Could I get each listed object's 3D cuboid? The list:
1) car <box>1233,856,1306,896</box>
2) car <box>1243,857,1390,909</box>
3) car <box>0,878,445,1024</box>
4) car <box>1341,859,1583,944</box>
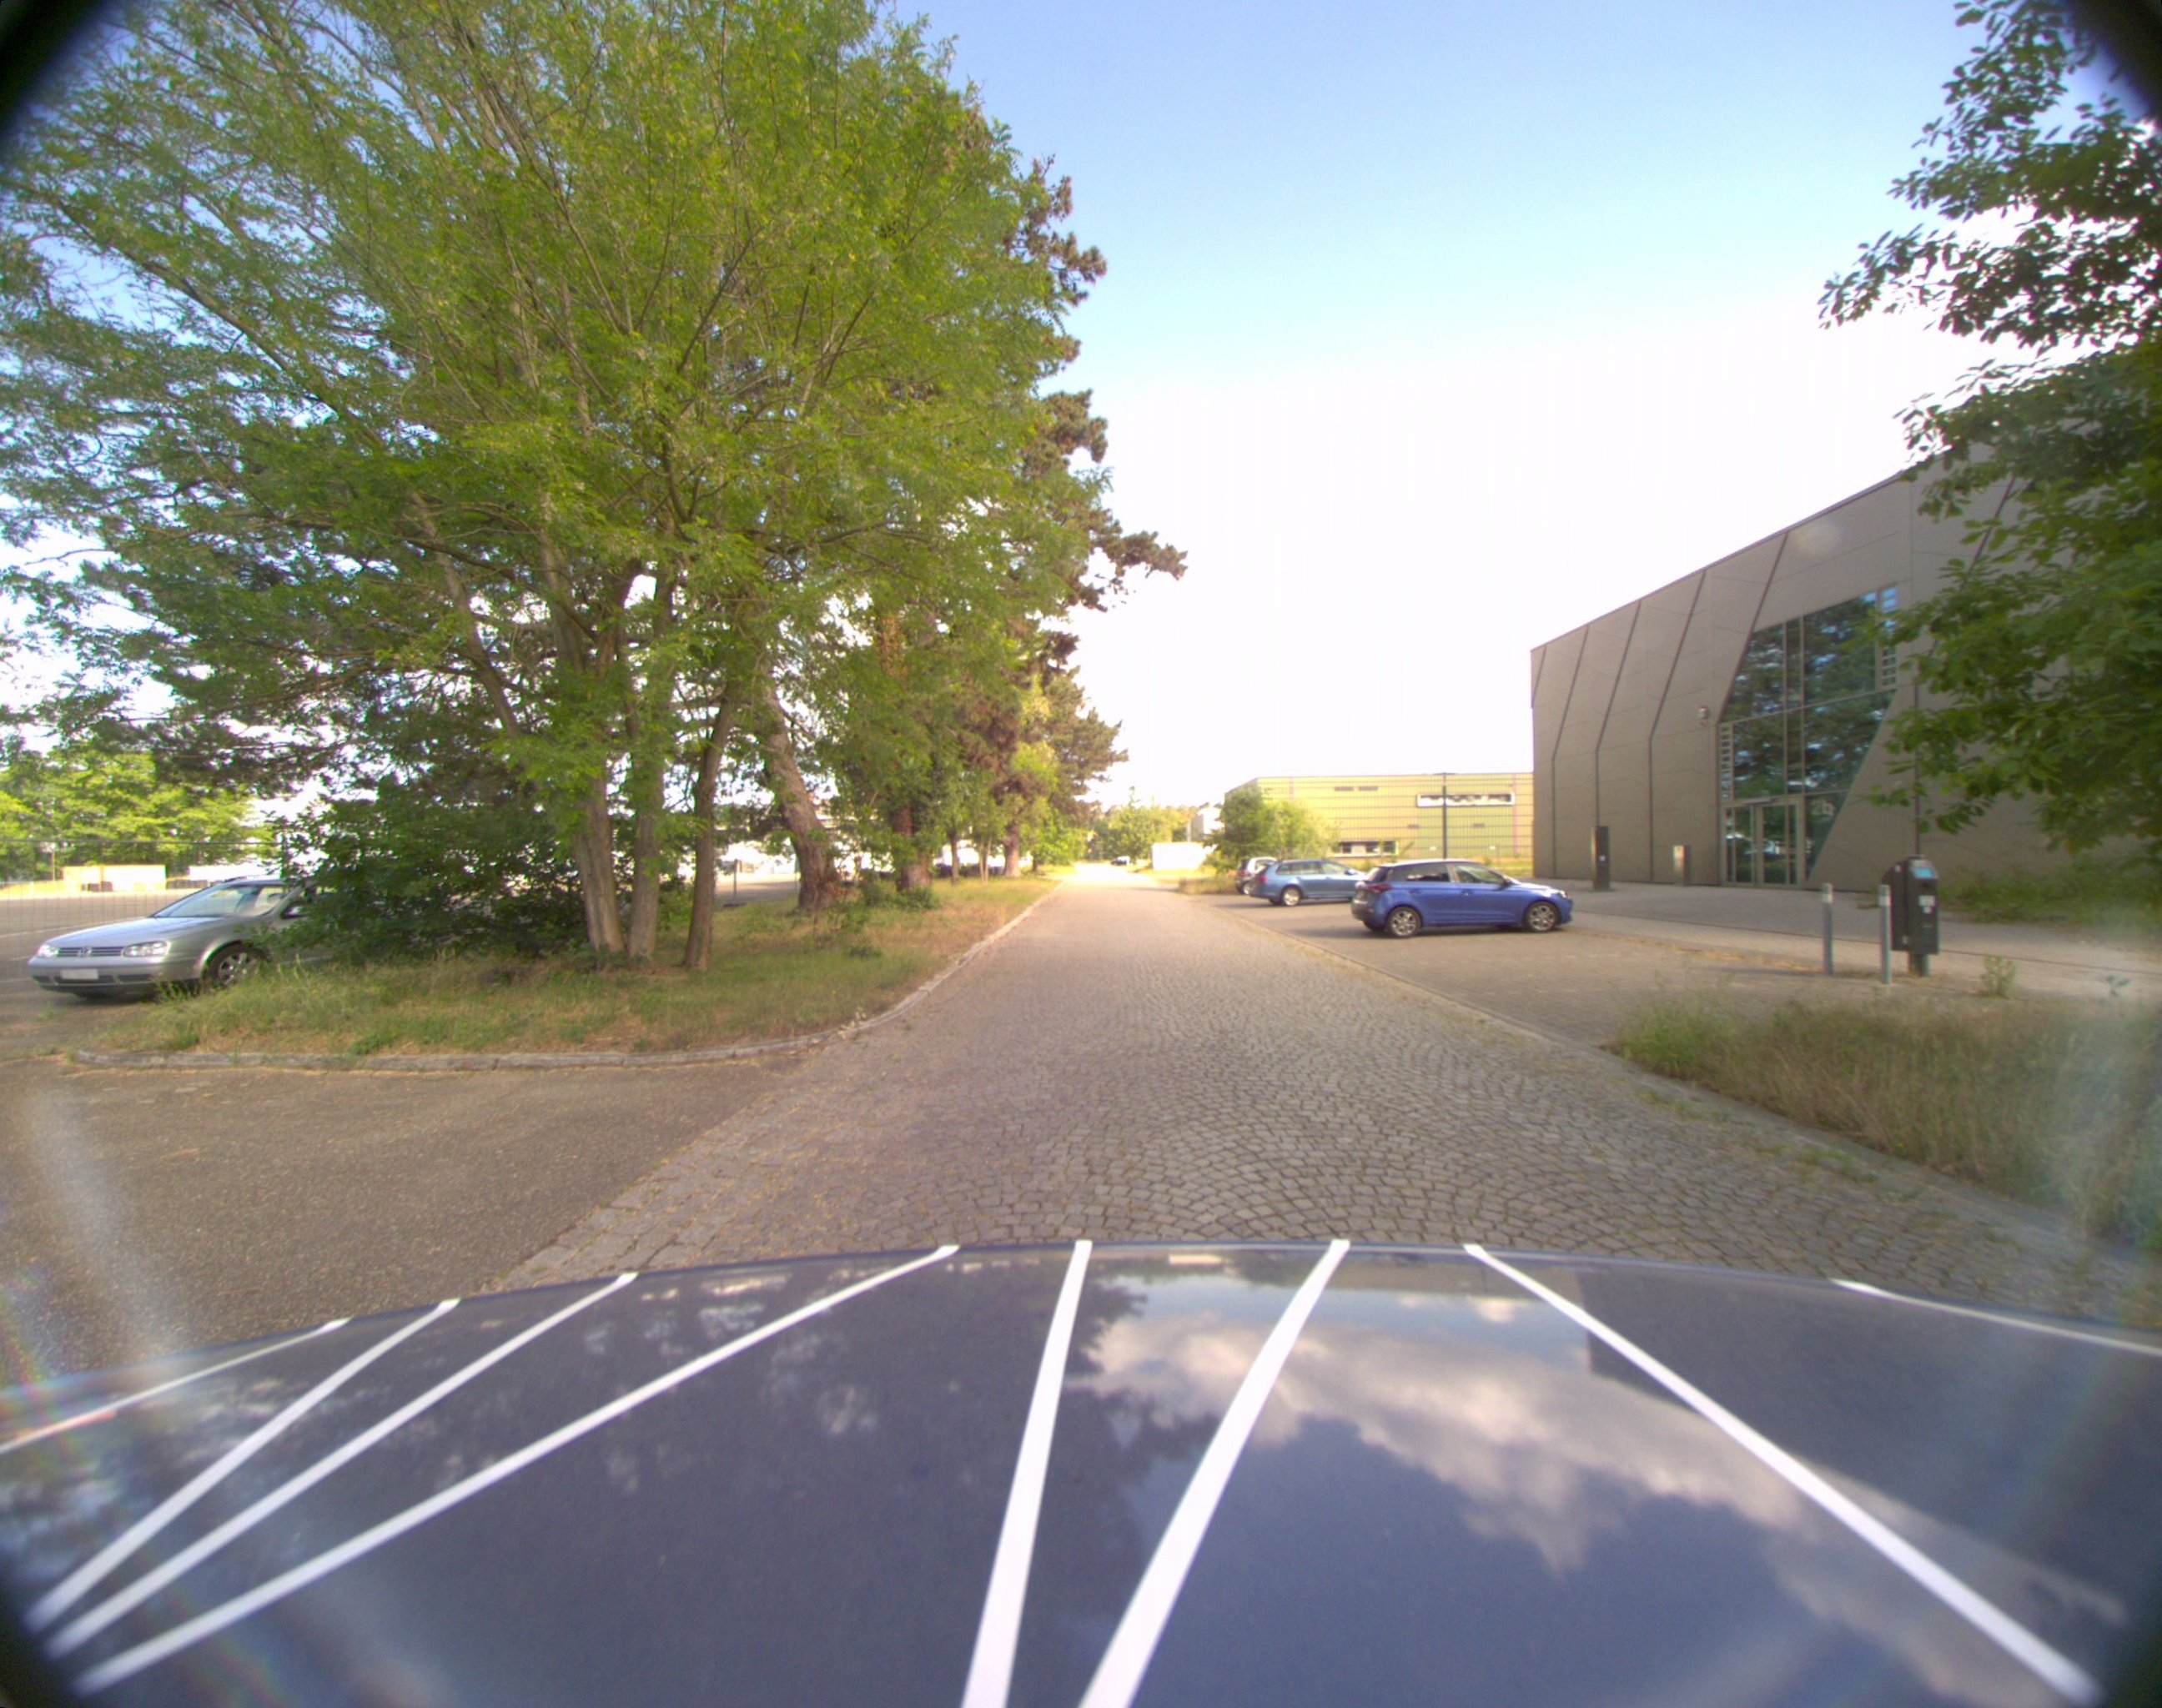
[{"bbox_3d":[7.890,0.898,32.021,2.652,1.559,1.482,-2,0,0],"label":"car"},{"bbox_3d":[7.567,0.906,24.636,4.179,1.465,1.734,-2,0,-1],"label":"car"},{"bbox_3d":[-11.073,1.127,10.321,1.578,1.435,3.986,-1,0,-2],"label":"car"},{"bbox_3d":[7.464,0.911,15.181,3.917,1.459,1.735,-2,0,3],"label":"car"}]
